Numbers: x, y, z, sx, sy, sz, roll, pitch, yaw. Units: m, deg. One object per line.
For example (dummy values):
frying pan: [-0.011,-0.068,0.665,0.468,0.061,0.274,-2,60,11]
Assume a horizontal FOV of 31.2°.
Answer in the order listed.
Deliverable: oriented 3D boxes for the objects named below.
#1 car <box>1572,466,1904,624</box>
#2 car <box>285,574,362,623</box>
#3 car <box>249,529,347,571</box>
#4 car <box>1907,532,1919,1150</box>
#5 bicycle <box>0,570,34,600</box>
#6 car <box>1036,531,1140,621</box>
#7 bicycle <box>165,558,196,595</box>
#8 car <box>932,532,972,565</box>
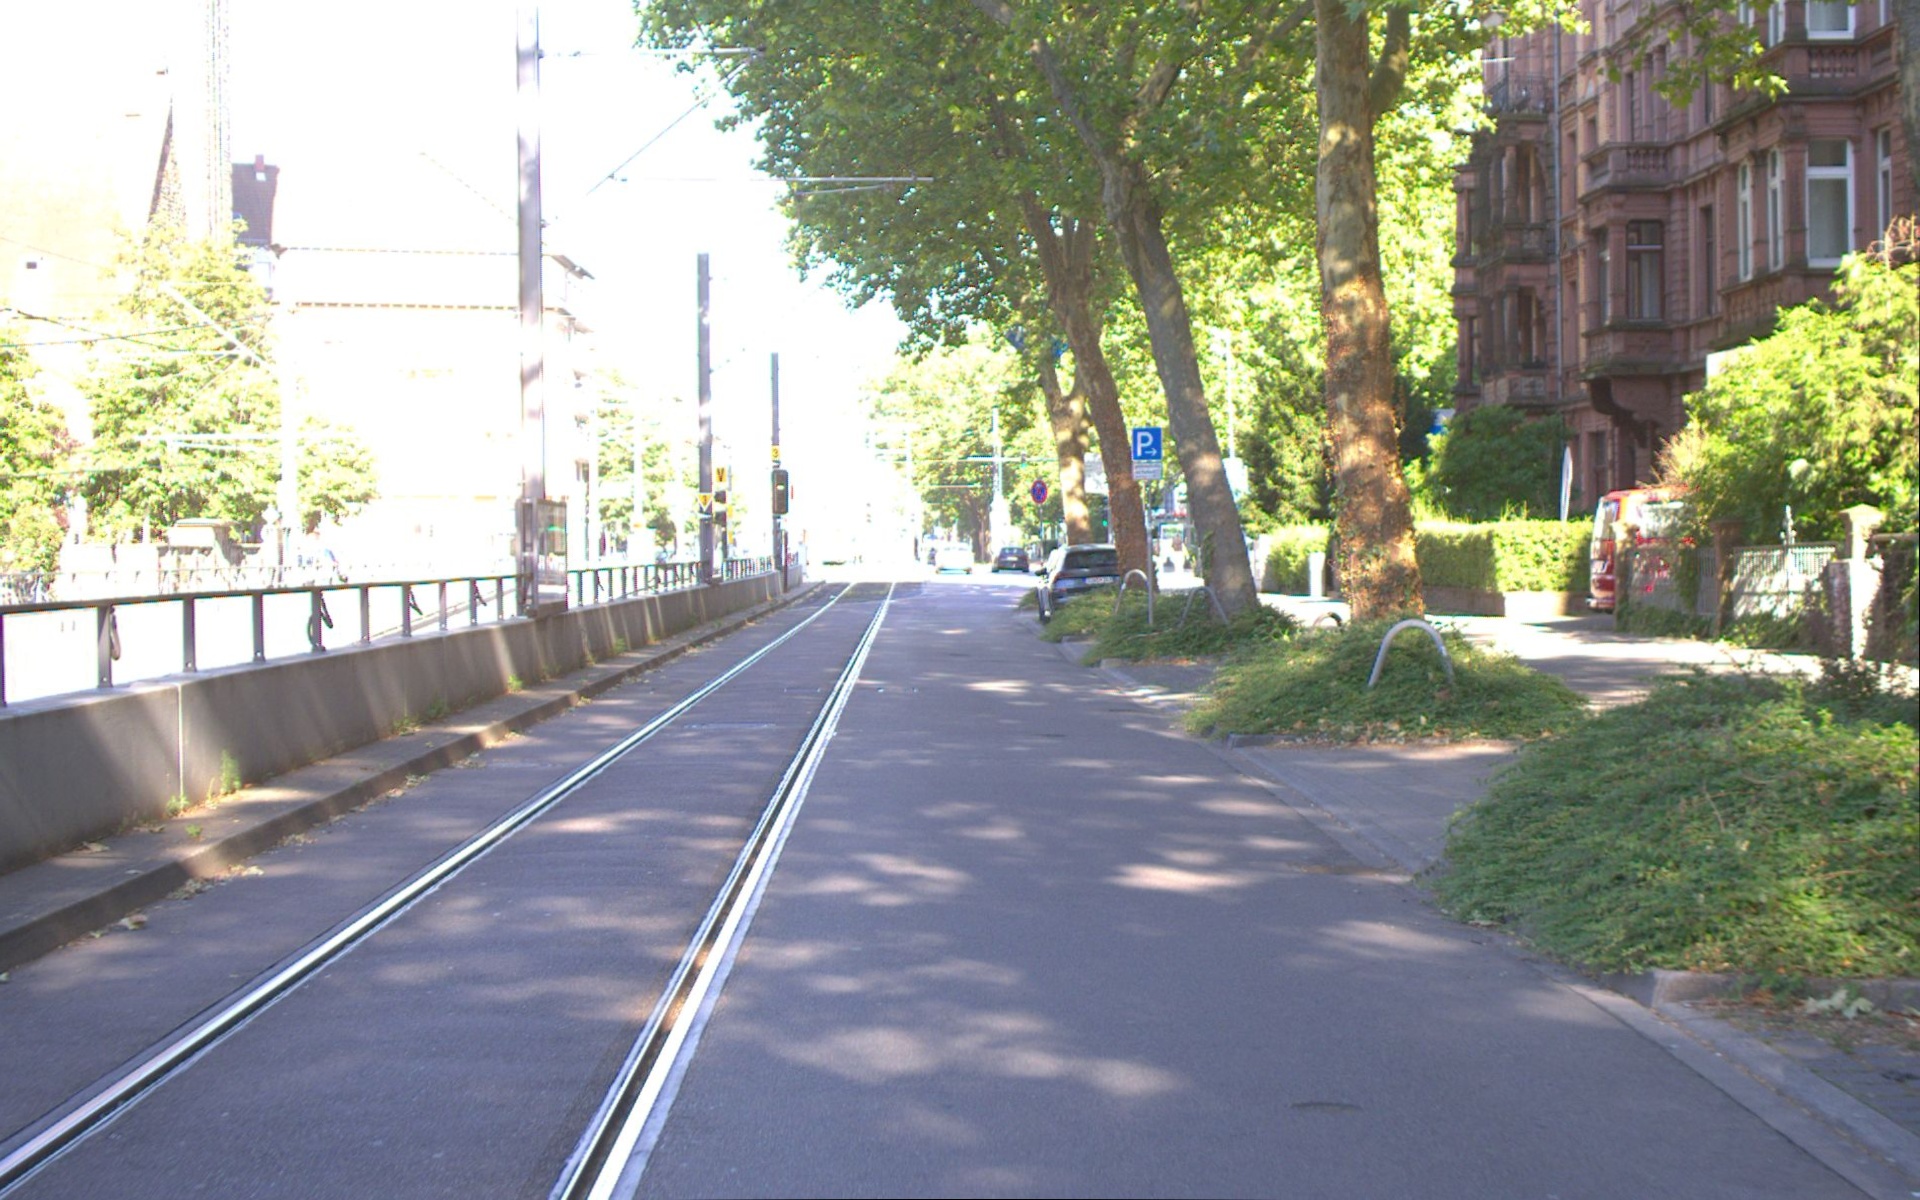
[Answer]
car: [11.088,-0.791,49.191,4.175,2.007,2.000,-3,1,-2]
car: [-22.117,-0.078,119.657,1.716,1.550,4.510,2,1,1]
car: [-29.965,-2.262,155.745,3.987,1.750,1.895,2,1,2]
car: [3.217,0.632,6.209,1.732,1.531,4.805,0,1,1]
bicycle: [-25.862,-0.413,94.100,0.416,0.797,1.887,2,1,2]
car: [2.345,-0.465,63.857,1.616,1.581,4.417,-2,1,-1]
bicycle: [-22.666,-0.690,99.922,0.485,1.019,1.894,2,1,-24]
car: [-0.375,-2.408,161.428,1.745,1.457,3.645,2,1,-2]
